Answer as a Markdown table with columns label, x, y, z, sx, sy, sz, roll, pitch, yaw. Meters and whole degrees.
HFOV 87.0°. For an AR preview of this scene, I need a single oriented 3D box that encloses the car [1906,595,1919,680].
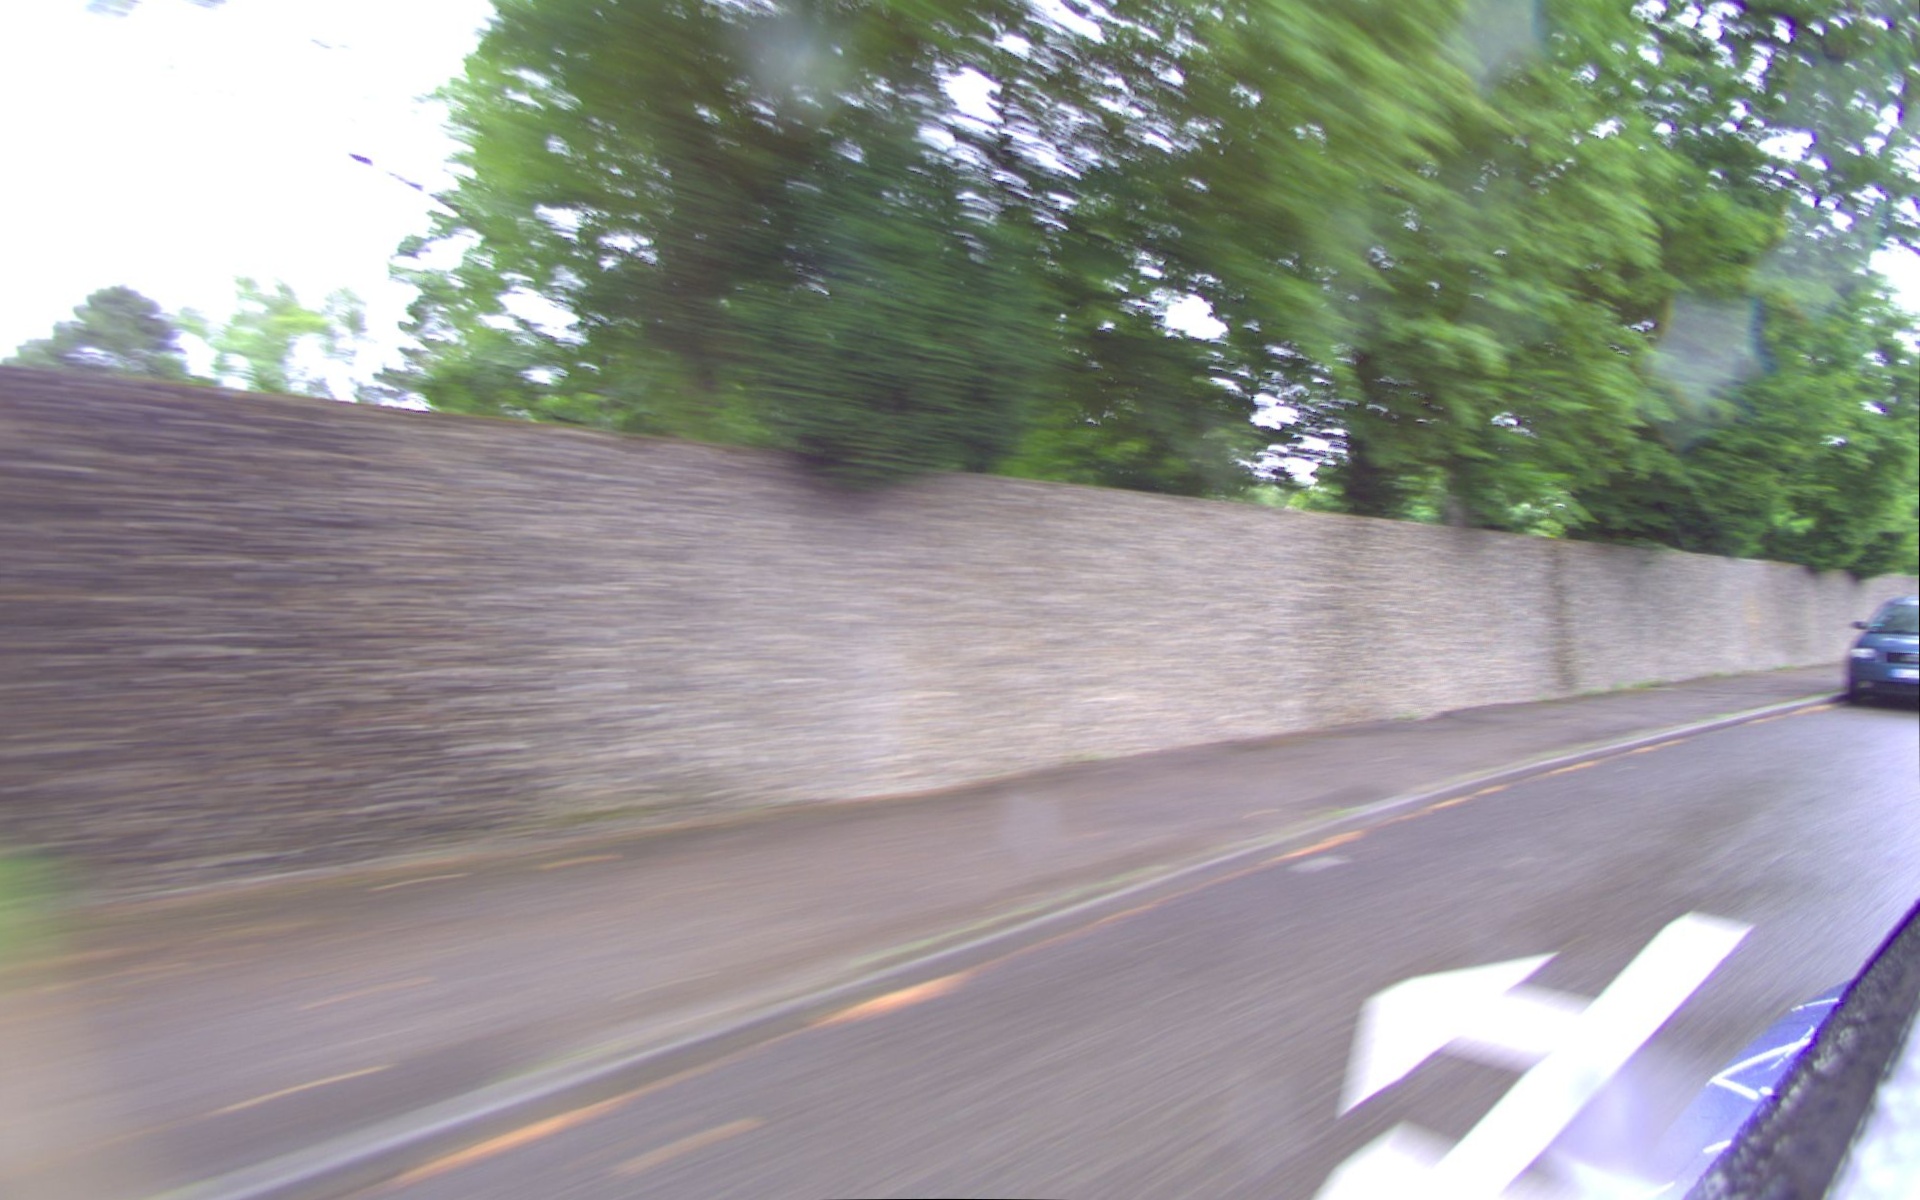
| label | x | y | z | sx | sy | sz | roll | pitch | yaw |
| --- | --- | --- | --- | --- | --- | --- | --- | --- | --- |
| car | 18.431 | 0.675 | 17.769 | 4.402 | 1.436 | 1.999 | 1 | 1 | -38 |

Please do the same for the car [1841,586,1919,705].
| label | x | y | z | sx | sy | sz | roll | pitch | yaw |
| --- | --- | --- | --- | --- | --- | --- | --- | --- | --- |
| car | 14.146 | 0.618 | 14.374 | 3.731 | 1.552 | 1.794 | 0 | 1 | -38 |
